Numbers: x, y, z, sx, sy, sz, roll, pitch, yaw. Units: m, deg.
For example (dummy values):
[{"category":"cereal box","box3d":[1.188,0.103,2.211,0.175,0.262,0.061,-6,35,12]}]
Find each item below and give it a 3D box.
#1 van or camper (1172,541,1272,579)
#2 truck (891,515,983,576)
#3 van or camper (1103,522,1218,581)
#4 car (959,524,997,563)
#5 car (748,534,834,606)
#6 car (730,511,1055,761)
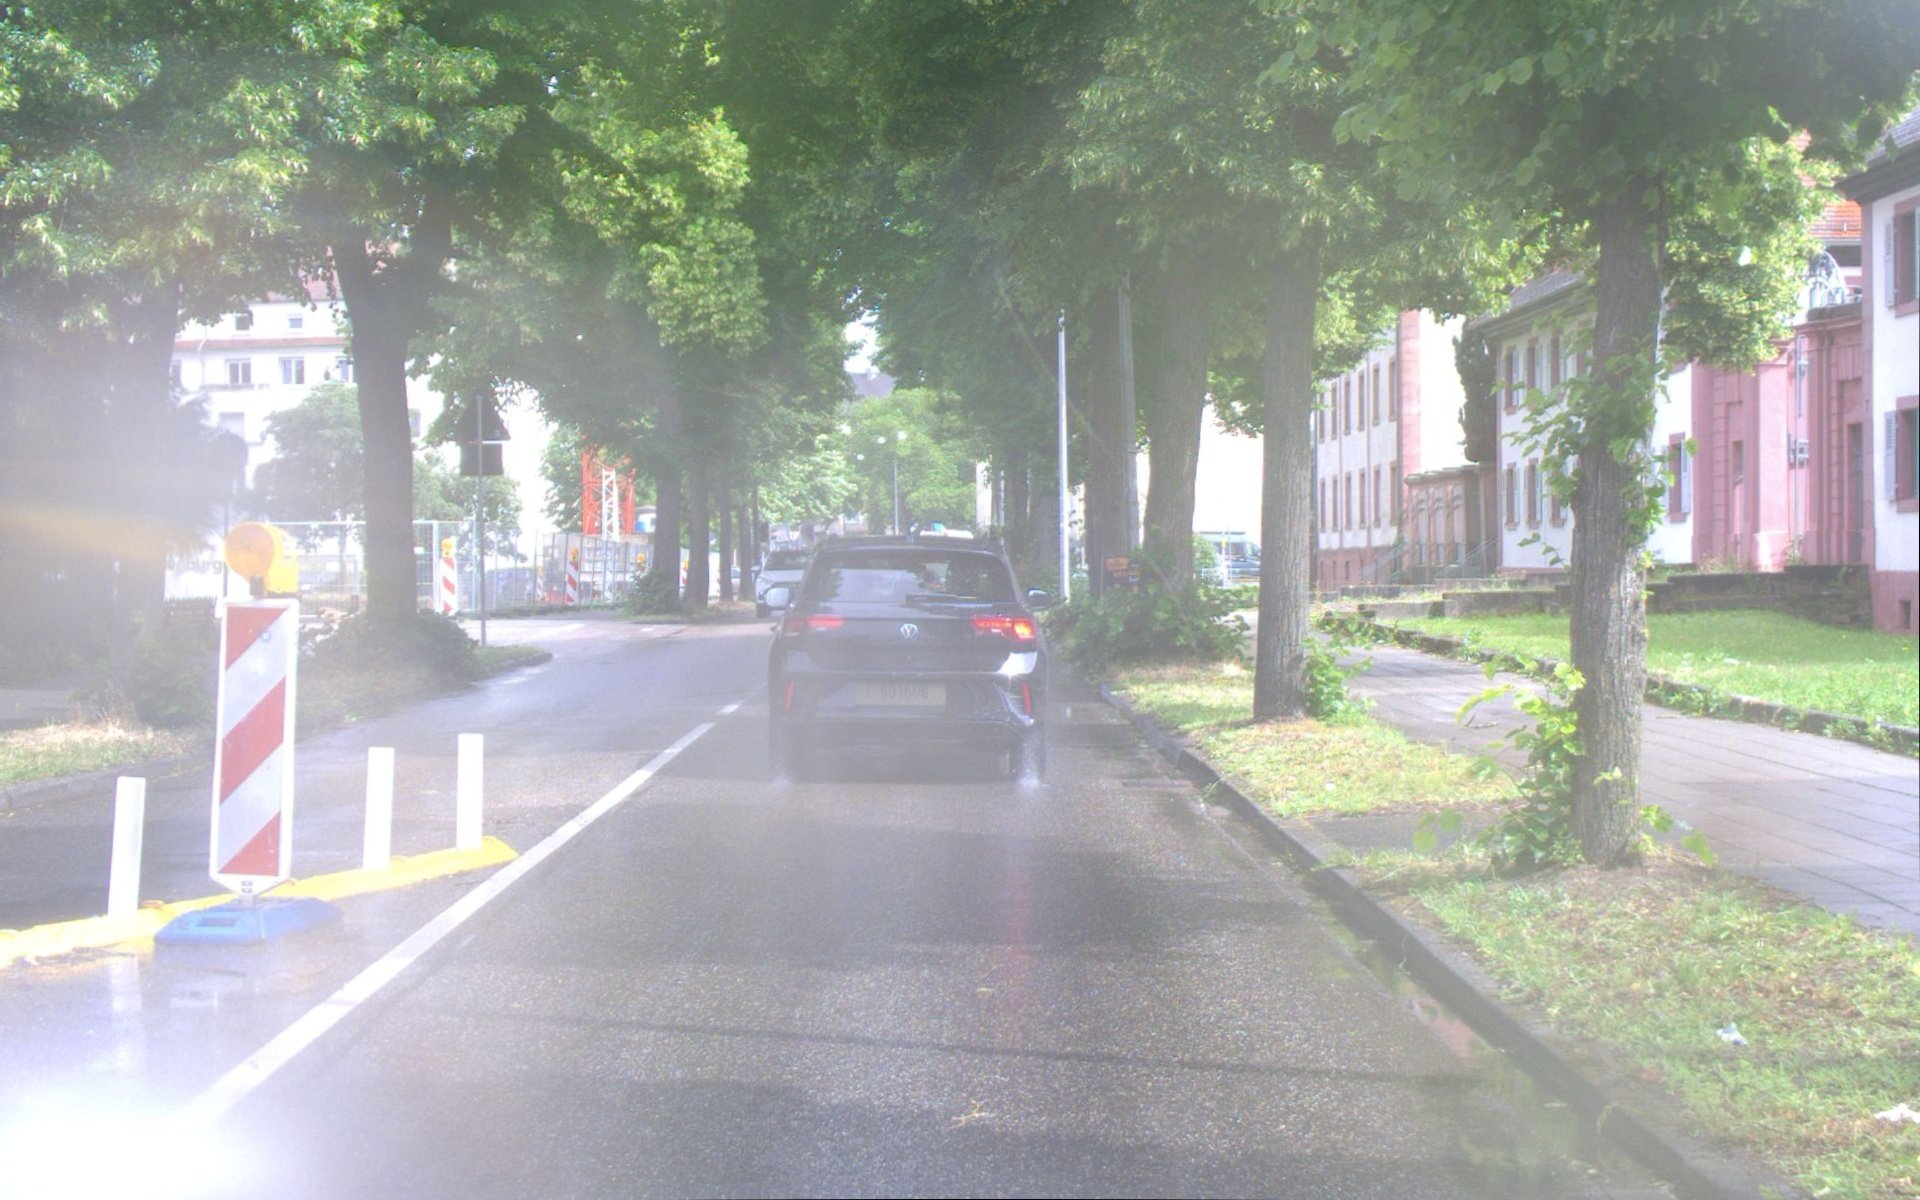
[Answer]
[{"category":"van or camper","box3d":[13.270,-2.034,174.359,4.875,1.919,2.131,0,1,1]},{"category":"truck","box3d":[-1.086,-2.479,153.297,2.804,2.647,8.243,0,1,-10]},{"category":"van or camper","box3d":[9.100,-2.187,156.615,5.032,2.587,2.168,-1,0,-1]},{"category":"car","box3d":[1.062,-3.323,202.613,1.994,2.007,3.998,0,-4,4]},{"category":"car","box3d":[-4.164,-0.754,85.391,1.886,1.708,4.230,-1,1,0]},{"category":"car","box3d":[-0.540,0.200,22.911,1.894,1.517,4.001,0,1,-5]}]
